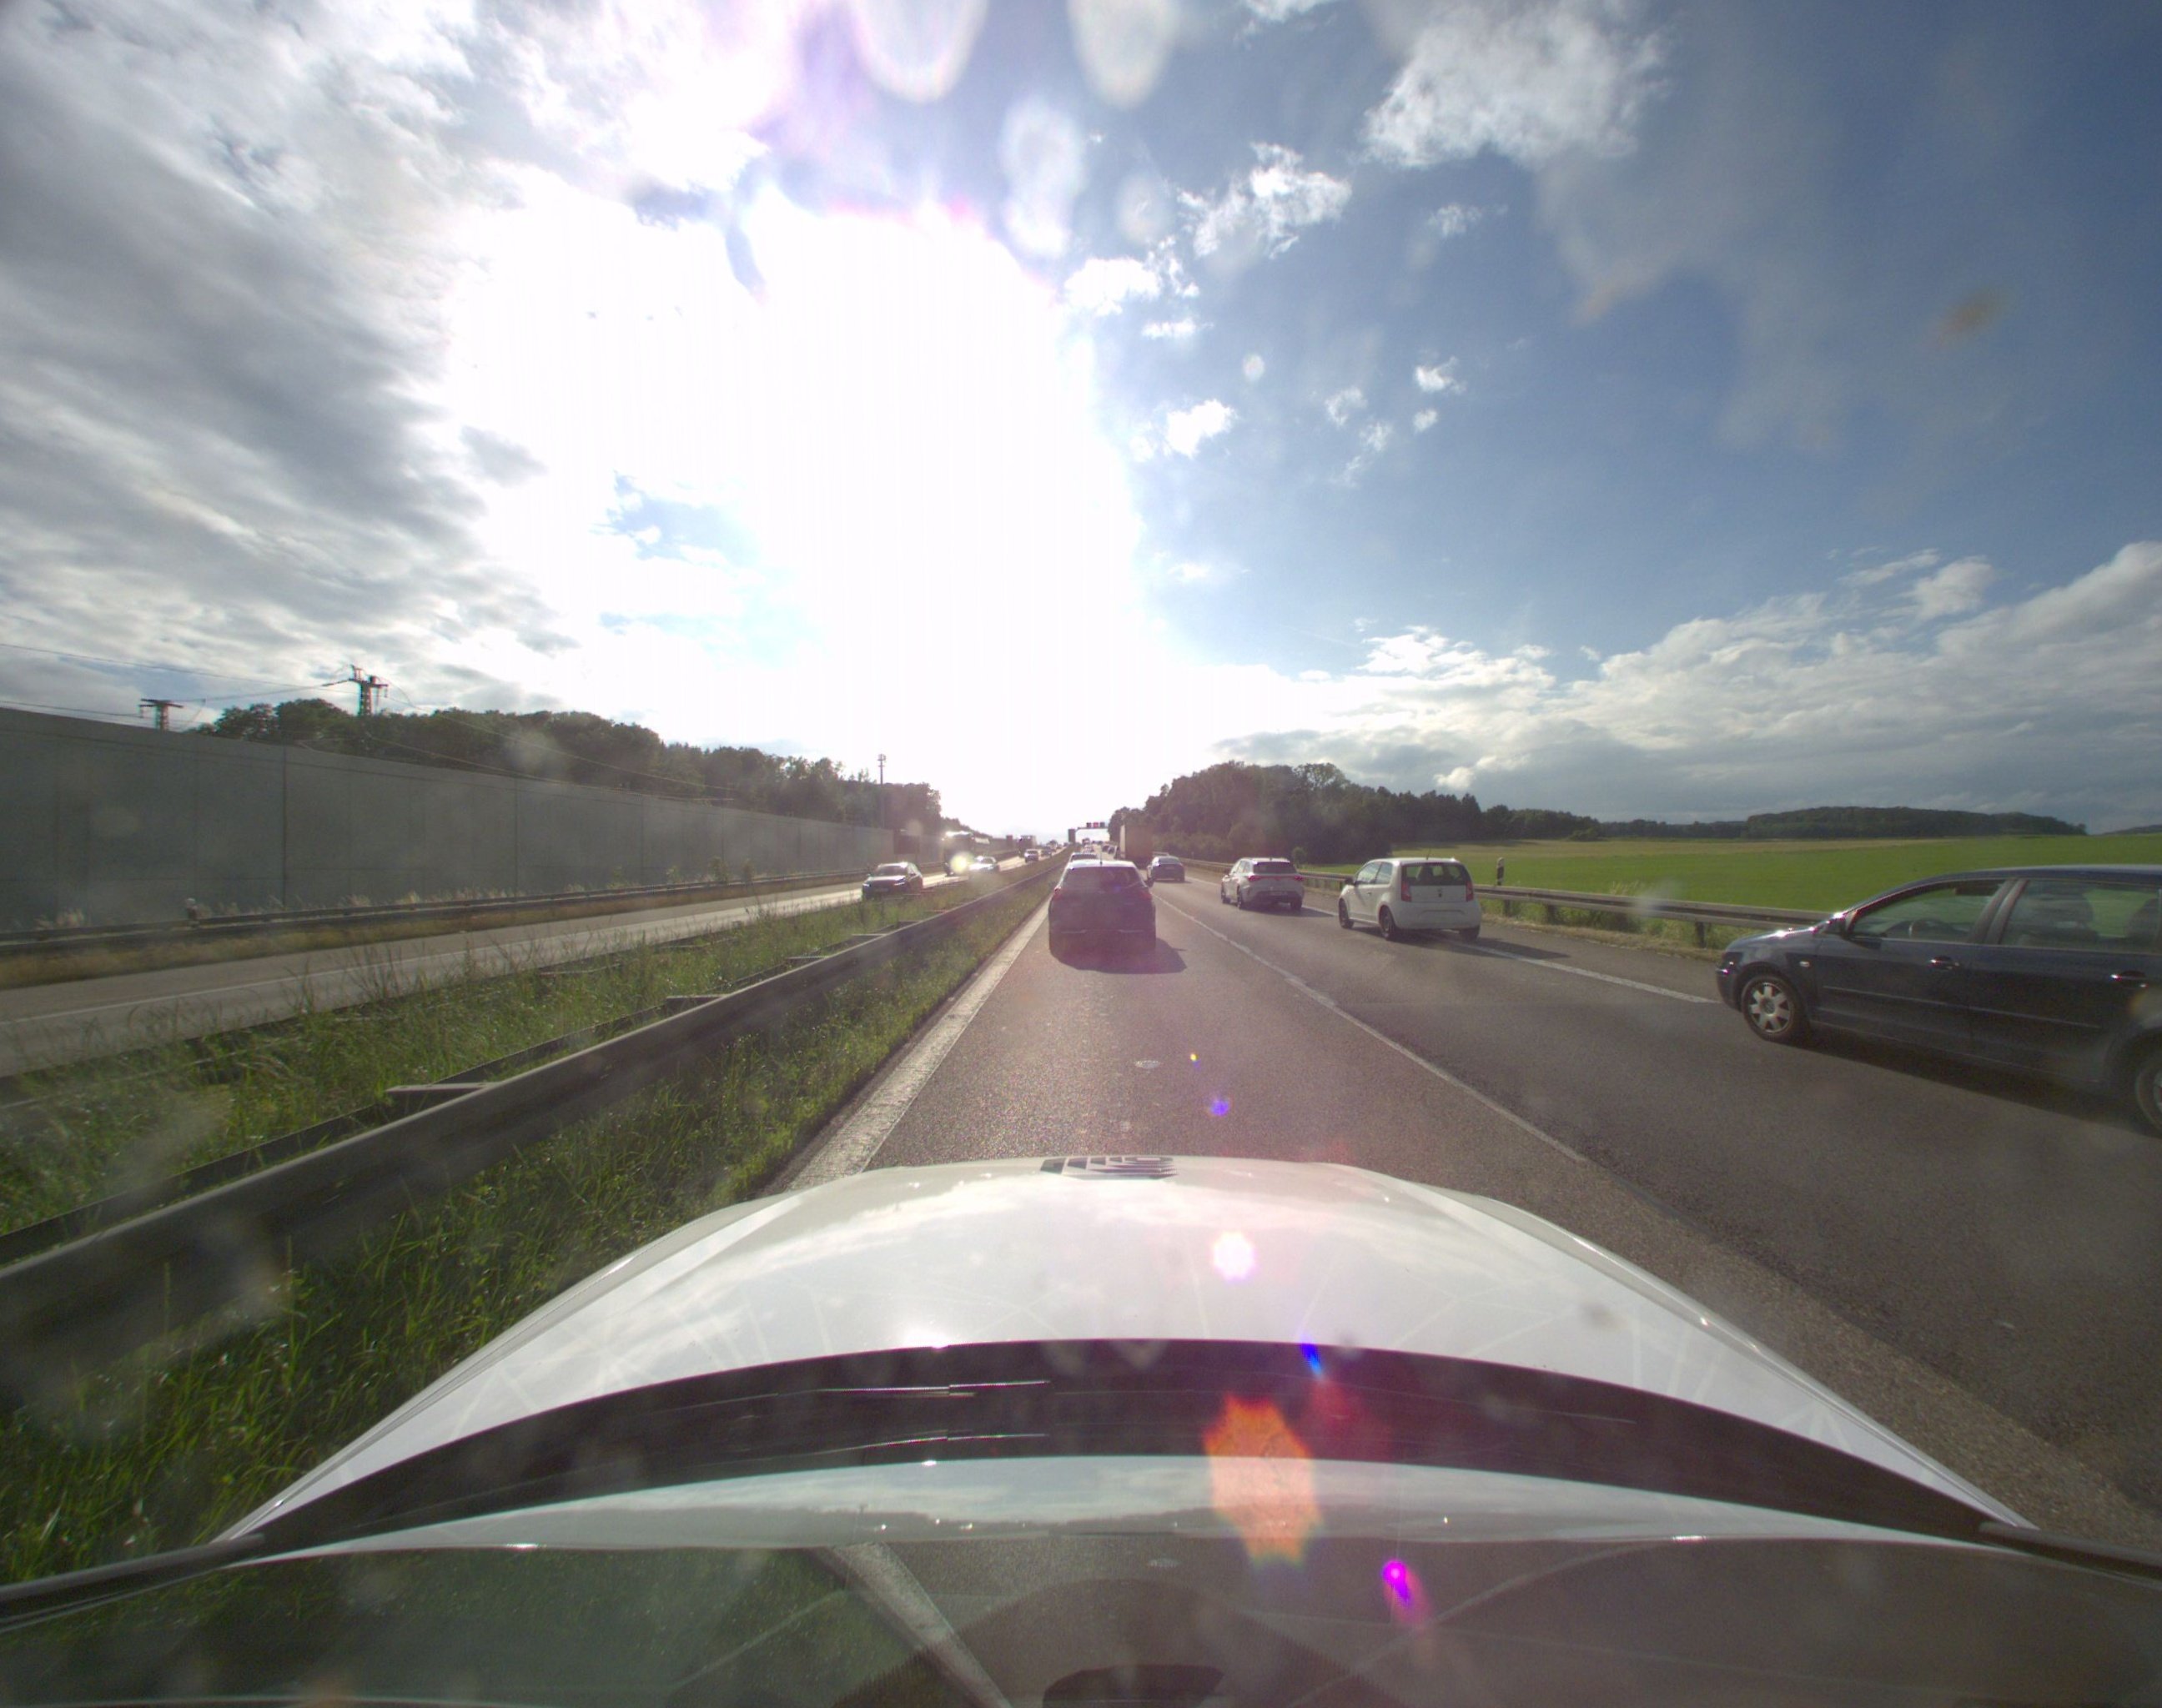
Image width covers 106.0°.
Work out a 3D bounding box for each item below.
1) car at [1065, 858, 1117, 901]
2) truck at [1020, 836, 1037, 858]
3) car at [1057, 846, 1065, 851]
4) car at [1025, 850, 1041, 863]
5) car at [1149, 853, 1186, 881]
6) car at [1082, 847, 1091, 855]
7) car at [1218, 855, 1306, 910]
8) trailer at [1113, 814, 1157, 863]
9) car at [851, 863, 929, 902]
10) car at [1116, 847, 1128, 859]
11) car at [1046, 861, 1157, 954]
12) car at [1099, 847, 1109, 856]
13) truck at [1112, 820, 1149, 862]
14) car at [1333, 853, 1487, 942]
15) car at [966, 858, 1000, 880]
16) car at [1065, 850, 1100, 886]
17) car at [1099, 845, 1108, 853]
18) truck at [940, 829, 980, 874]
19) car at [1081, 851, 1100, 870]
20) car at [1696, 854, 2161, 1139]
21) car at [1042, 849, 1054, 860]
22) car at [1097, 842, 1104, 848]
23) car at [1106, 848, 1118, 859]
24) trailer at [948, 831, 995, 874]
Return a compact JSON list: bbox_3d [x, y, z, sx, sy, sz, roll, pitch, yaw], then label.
[{"bbox_3d":[0.365,0.835,27.838,1.668,1.367,3.597,-1,-1,1],"label":"car"},{"bbox_3d":[-9.786,-1.263,152.432,2.744,4.090,6.953,-1,-1,1],"label":"truck"},{"bbox_3d":[-5.581,-1.472,226.232,1.896,1.464,4.183,0,-1,0],"label":"car"},{"bbox_3d":[-6.691,0.369,113.561,1.853,1.834,4.281,0,-1,1],"label":"car"},{"bbox_3d":[4.829,0.735,45.732,1.740,1.475,4.148,-1,-1,2],"label":"car"},{"bbox_3d":[1.335,-0.703,193.138,1.987,2.014,3.999,0,-1,0],"label":"car"},{"bbox_3d":[5.187,0.788,23.856,1.616,1.445,4.145,0,-1,-1],"label":"car"},{"bbox_3d":[5.225,-1.376,81.201,3.537,4.457,12.720,0,-1,0],"label":"trailer"},{"bbox_3d":[-7.660,1.106,33.107,1.986,1.486,4.399,0,-1,2],"label":"car"},{"bbox_3d":[5.996,-0.110,119.656,1.660,1.755,3.328,0,-1,2],"label":"car"},{"bbox_3d":[0.385,0.842,14.284,1.703,1.426,3.379,-1,-1,2],"label":"car"},{"bbox_3d":[4.954,-0.552,175.600,1.987,2.014,3.999,0,-1,0],"label":"car"},{"bbox_3d":[5.232,-1.303,88.011,3.571,4.380,6.686,0,-1,0],"label":"truck"},{"bbox_3d":[6.138,0.741,15.594,1.544,1.495,3.376,0,0,-1],"label":"car"},{"bbox_3d":[-7.158,1.075,60.094,1.796,1.516,4.692,0,-1,2],"label":"car"},{"bbox_3d":[0.108,0.719,41.807,1.668,1.726,3.597,-1,-1,1],"label":"car"},{"bbox_3d":[5.704,-1.206,207.914,1.987,2.014,3.999,0,-1,0],"label":"car"},{"bbox_3d":[-10.861,-0.204,73.644,2.543,3.798,5.418,-3,-1,1],"label":"truck"},{"bbox_3d":[1.050,0.728,89.269,1.987,2.014,3.999,0,-1,0],"label":"car"},{"bbox_3d":[6.303,0.732,5.274,1.705,1.445,3.771,0,-1,-2],"label":"car"},{"bbox_3d":[-6.027,0.073,149.255,1.987,1.883,4.787,-3,-1,1],"label":"car"},{"bbox_3d":[6.342,-2.928,262.269,1.987,2.014,3.999,0,-1,0],"label":"car"},{"bbox_3d":[5.978,-0.143,156.892,1.987,2.014,3.999,0,-1,0],"label":"car"},{"bbox_3d":[-10.689,-0.086,80.818,2.531,3.771,12.543,-3,-1,1],"label":"trailer"}]
